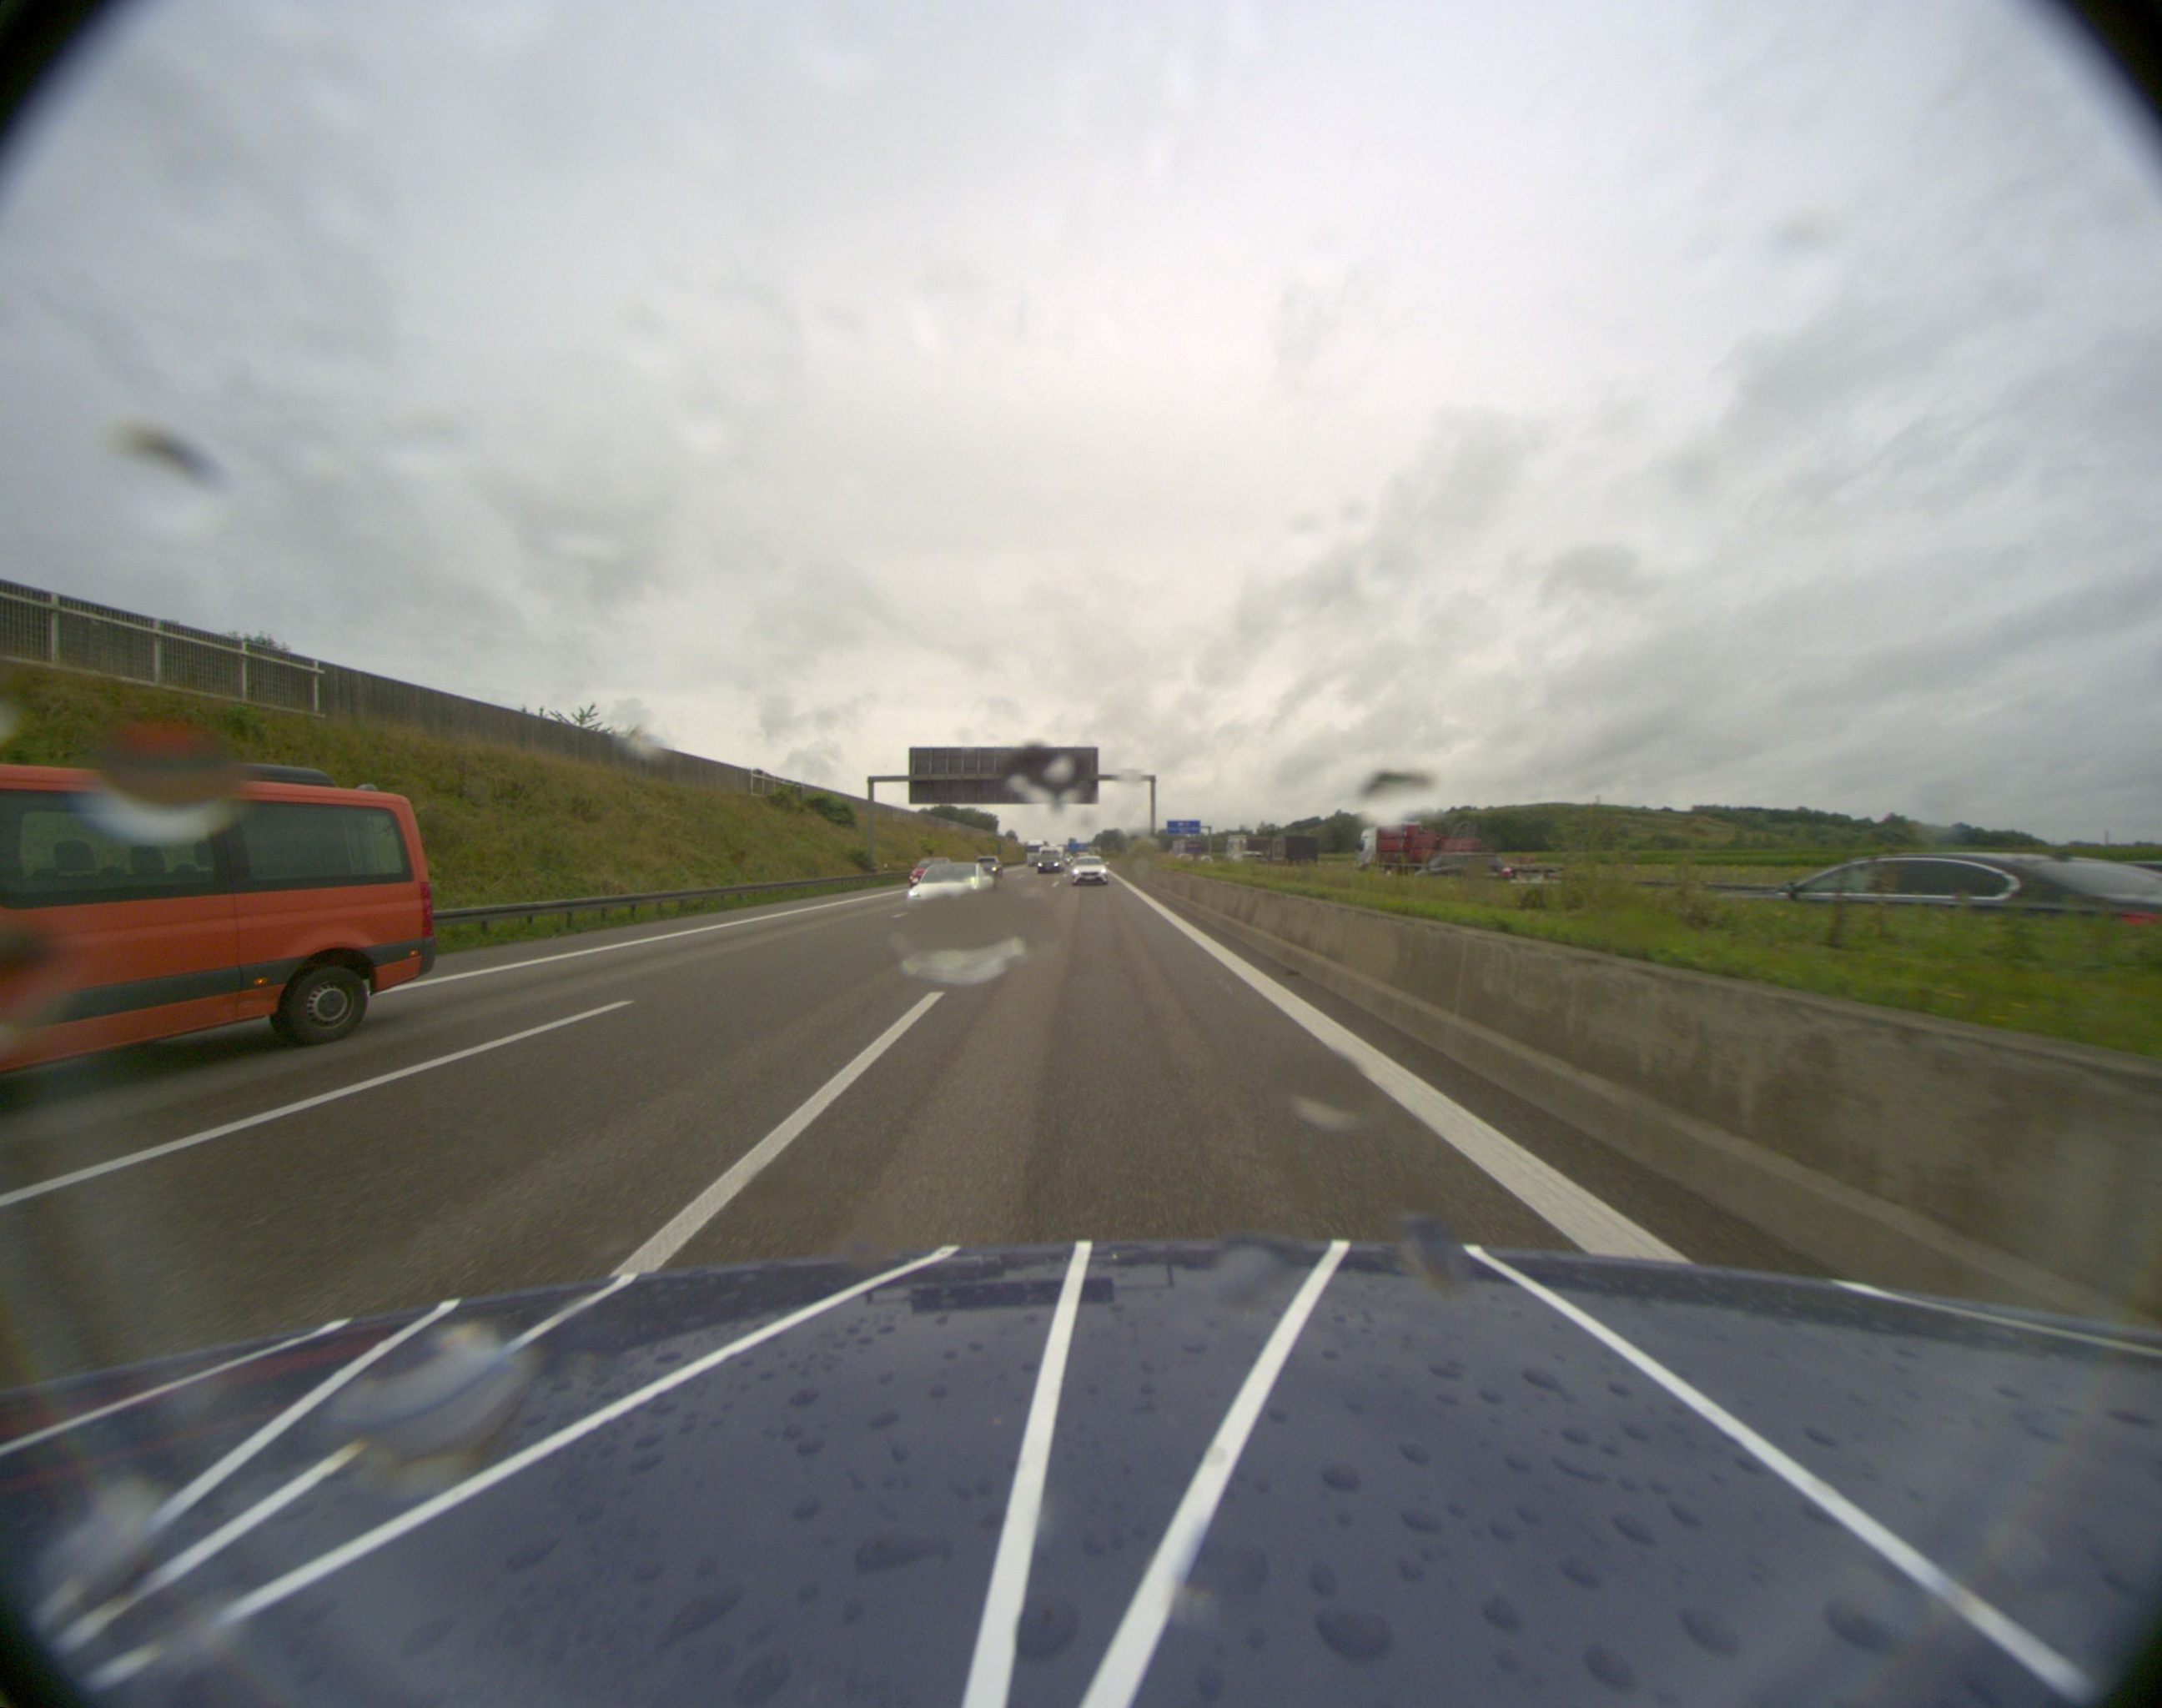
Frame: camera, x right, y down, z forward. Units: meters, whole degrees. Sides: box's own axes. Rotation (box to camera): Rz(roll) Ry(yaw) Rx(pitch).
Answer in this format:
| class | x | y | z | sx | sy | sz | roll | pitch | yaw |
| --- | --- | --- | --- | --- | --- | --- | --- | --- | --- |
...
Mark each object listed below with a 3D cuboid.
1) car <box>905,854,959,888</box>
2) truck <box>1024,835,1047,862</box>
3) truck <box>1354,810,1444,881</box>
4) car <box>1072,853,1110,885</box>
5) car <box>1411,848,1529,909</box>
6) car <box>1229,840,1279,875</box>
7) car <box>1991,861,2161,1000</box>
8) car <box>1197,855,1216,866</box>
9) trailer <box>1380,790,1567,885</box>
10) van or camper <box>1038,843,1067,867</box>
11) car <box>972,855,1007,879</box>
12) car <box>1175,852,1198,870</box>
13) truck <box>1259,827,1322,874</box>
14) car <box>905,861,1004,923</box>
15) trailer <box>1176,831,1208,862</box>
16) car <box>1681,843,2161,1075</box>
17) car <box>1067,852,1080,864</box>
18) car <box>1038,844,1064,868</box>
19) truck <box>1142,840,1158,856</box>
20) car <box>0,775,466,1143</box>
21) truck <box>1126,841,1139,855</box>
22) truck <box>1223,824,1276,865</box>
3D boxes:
| class | x | y | z | sx | sy | sz | roll | pitch | yaw |
| --- | --- | --- | --- | --- | --- | --- | --- | --- | --- |
| car | -7.463 | 0.816 | 38.442 | 1.878 | 1.526 | 3.999 | -2 | 1 | 0 |
| truck | -7.073 | -0.830 | 118.703 | 3.090 | 4.003 | 6.955 | -2 | 1 | -1 |
| truck | 18.143 | -0.442 | 43.721 | 2.647 | 3.703 | 5.872 | -2 | 0 | 1 |
| car | 0.508 | 0.749 | 39.709 | 1.841 | 1.455 | 3.999 | -2 | 1 | 1 |
| car | 13.684 | 0.794 | 27.070 | 1.998 | 2.002 | 4.360 | 0 | 0 | 1 |
| car | 10.278 | 0.179 | 45.458 | 1.998 | 2.002 | 4.800 | 0 | 0 | 1 |
| car | 16.876 | 1.134 | 10.960 | 1.998 | 2.002 | 4.621 | 0 | 0 | 1 |
| car | 17.893 | 0.905 | 108.397 | 1.887 | 1.606 | 5.013 | 0 | 0 | 0 |
| trailer | 18.022 | -0.594 | 36.314 | 2.647 | 3.703 | 12.194 | -2 | -1 | 1 |
| van or camper | -2.692 | 0.043 | 74.368 | 2.432 | 2.139 | 6.497 | -2 | 1 | 1 |
| car | -6.405 | 0.894 | 53.607 | 1.929 | 1.480 | 4.485 | -2 | 1 | 0 |
| car | 10.799 | 0.670 | 78.107 | 1.785 | 1.707 | 3.999 | -2 | 1 | 1 |
| truck | 14.224 | -0.263 | 52.143 | 2.317 | 2.892 | 7.423 | -2 | 1 | 1 |
| car | -3.361 | 0.954 | 21.127 | 1.878 | 1.355 | 4.812 | -2 | 1 | 0 |
| trailer | 18.332 | -1.265 | 126.437 | 3.396 | 4.741 | 11.679 | -2 | 0 | -1 |
| car | 9.134 | 0.764 | 7.888 | 2.098 | 1.700 | 4.800 | -1 | 0 | 2 |
| car | -1.252 | 0.607 | 121.728 | 1.999 | 1.759 | 3.999 | 0 | 0 | -2 |
| car | -2.645 | 0.143 | 68.758 | 1.998 | 2.002 | 4.937 | -2 | 1 | 1 |
| truck | 18.405 | -1.627 | 203.691 | 3.192 | 3.944 | 10.809 | -2 | 1 | 1 |
| car | -7.806 | 0.671 | 5.193 | 2.091 | 2.302 | 6.181 | -1 | 0 | 0 |
| truck | 17.128 | -2.047 | 252.787 | 3.233 | 4.623 | 9.672 | -2 | 1 | 0 |
| truck | 20.104 | -1.161 | 91.658 | 3.521 | 4.458 | 11.784 | -2 | 1 | -1 |
